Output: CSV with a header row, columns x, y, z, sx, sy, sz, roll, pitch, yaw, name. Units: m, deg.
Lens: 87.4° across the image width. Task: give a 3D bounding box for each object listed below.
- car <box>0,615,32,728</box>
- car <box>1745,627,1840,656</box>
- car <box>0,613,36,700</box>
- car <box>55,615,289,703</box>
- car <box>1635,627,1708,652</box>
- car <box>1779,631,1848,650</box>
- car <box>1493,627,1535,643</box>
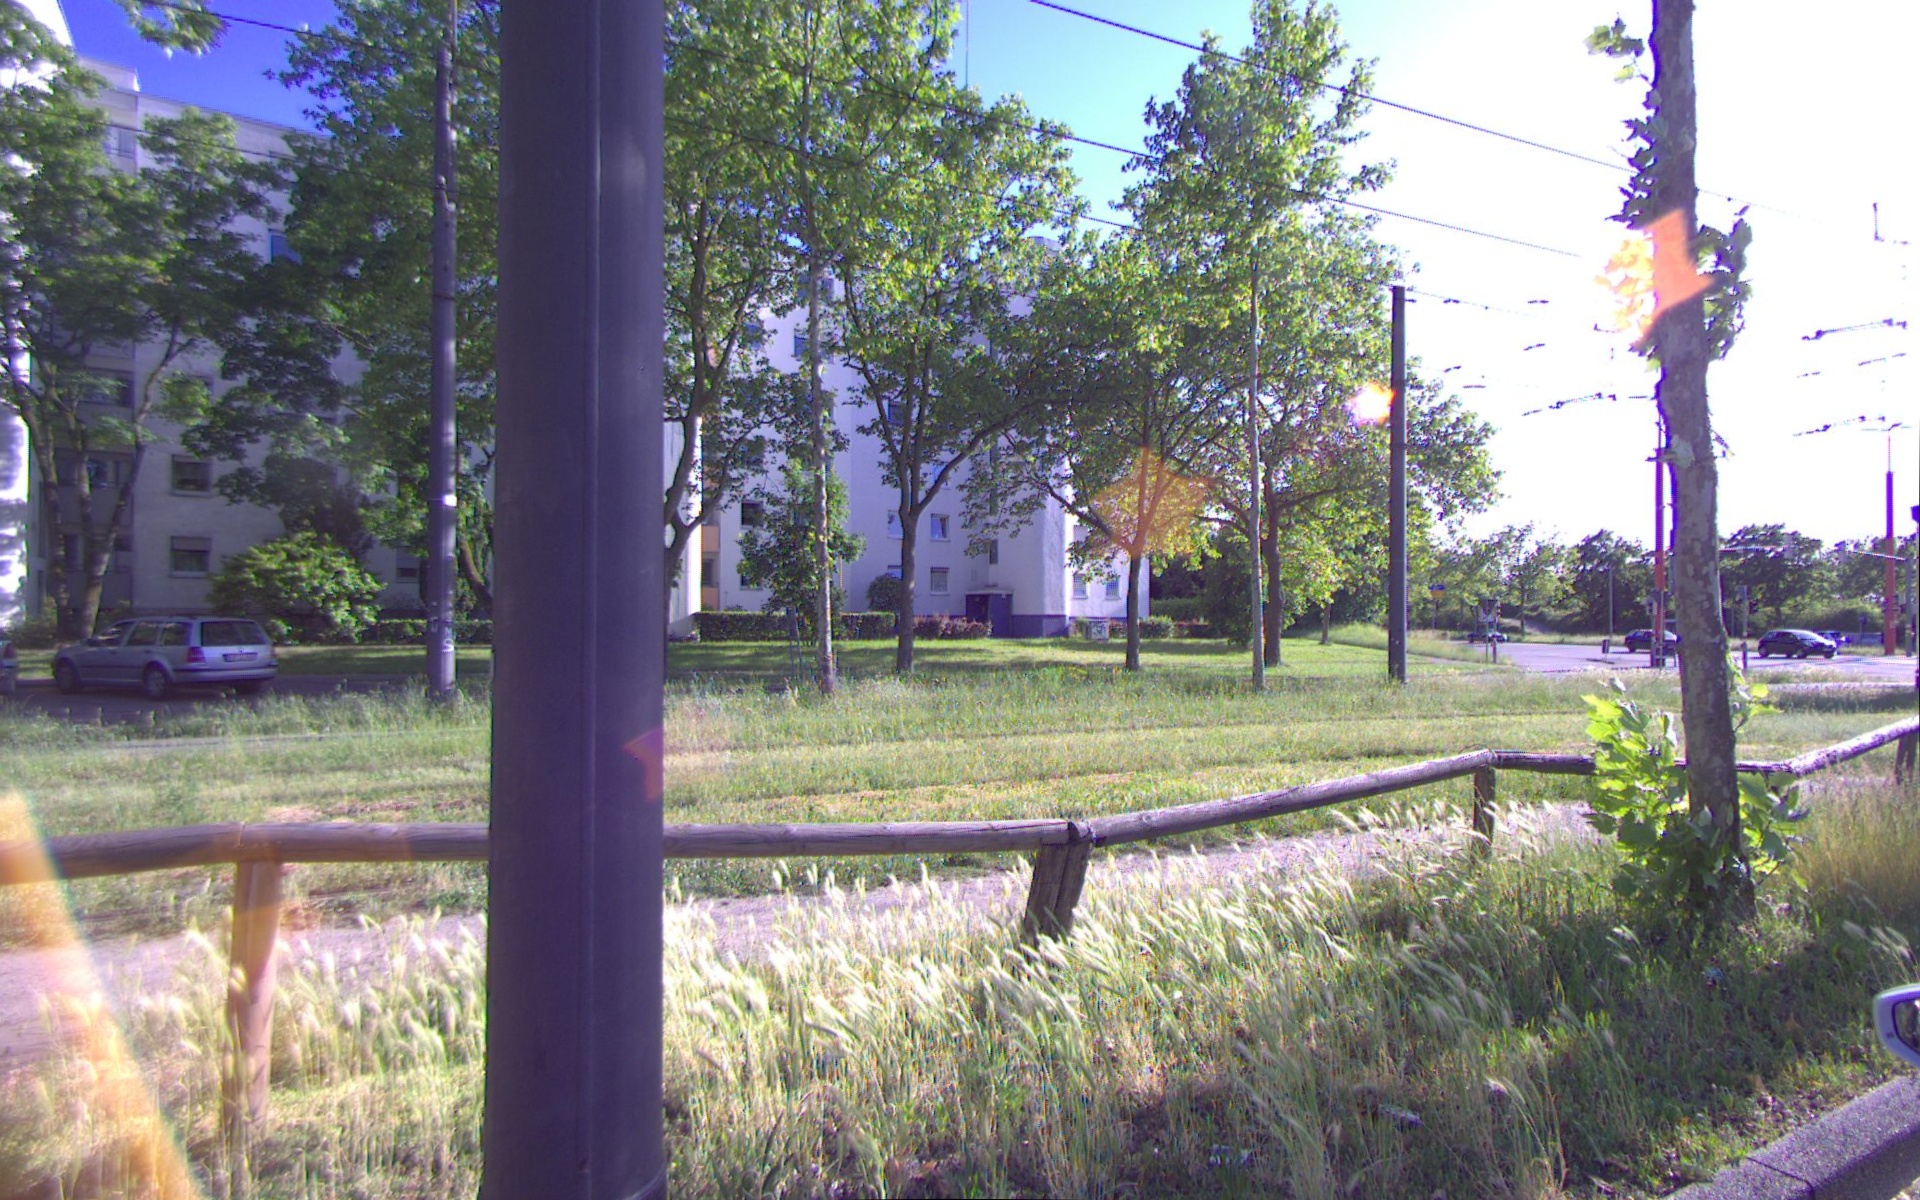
x,y,z,sx,sy,sz,roll,pitch,yaw,name
-14.057,0.882,12.243,3.717,1.439,1.811,1,-1,-33,car
45.699,2.269,55.265,1.876,1.483,4.056,1,-1,-1,car
-17.920,0.934,17.137,3.609,1.452,1.703,0,-1,20,car
-14.476,1.033,18.481,3.609,1.452,1.732,0,-1,20,car
46.032,2.525,65.089,1.876,1.483,4.242,1,-1,3,car
66.045,3.123,77.787,1.637,1.327,3.800,1,-1,-18,car
48.111,3.054,87.347,1.707,1.327,3.817,1,-1,3,car
